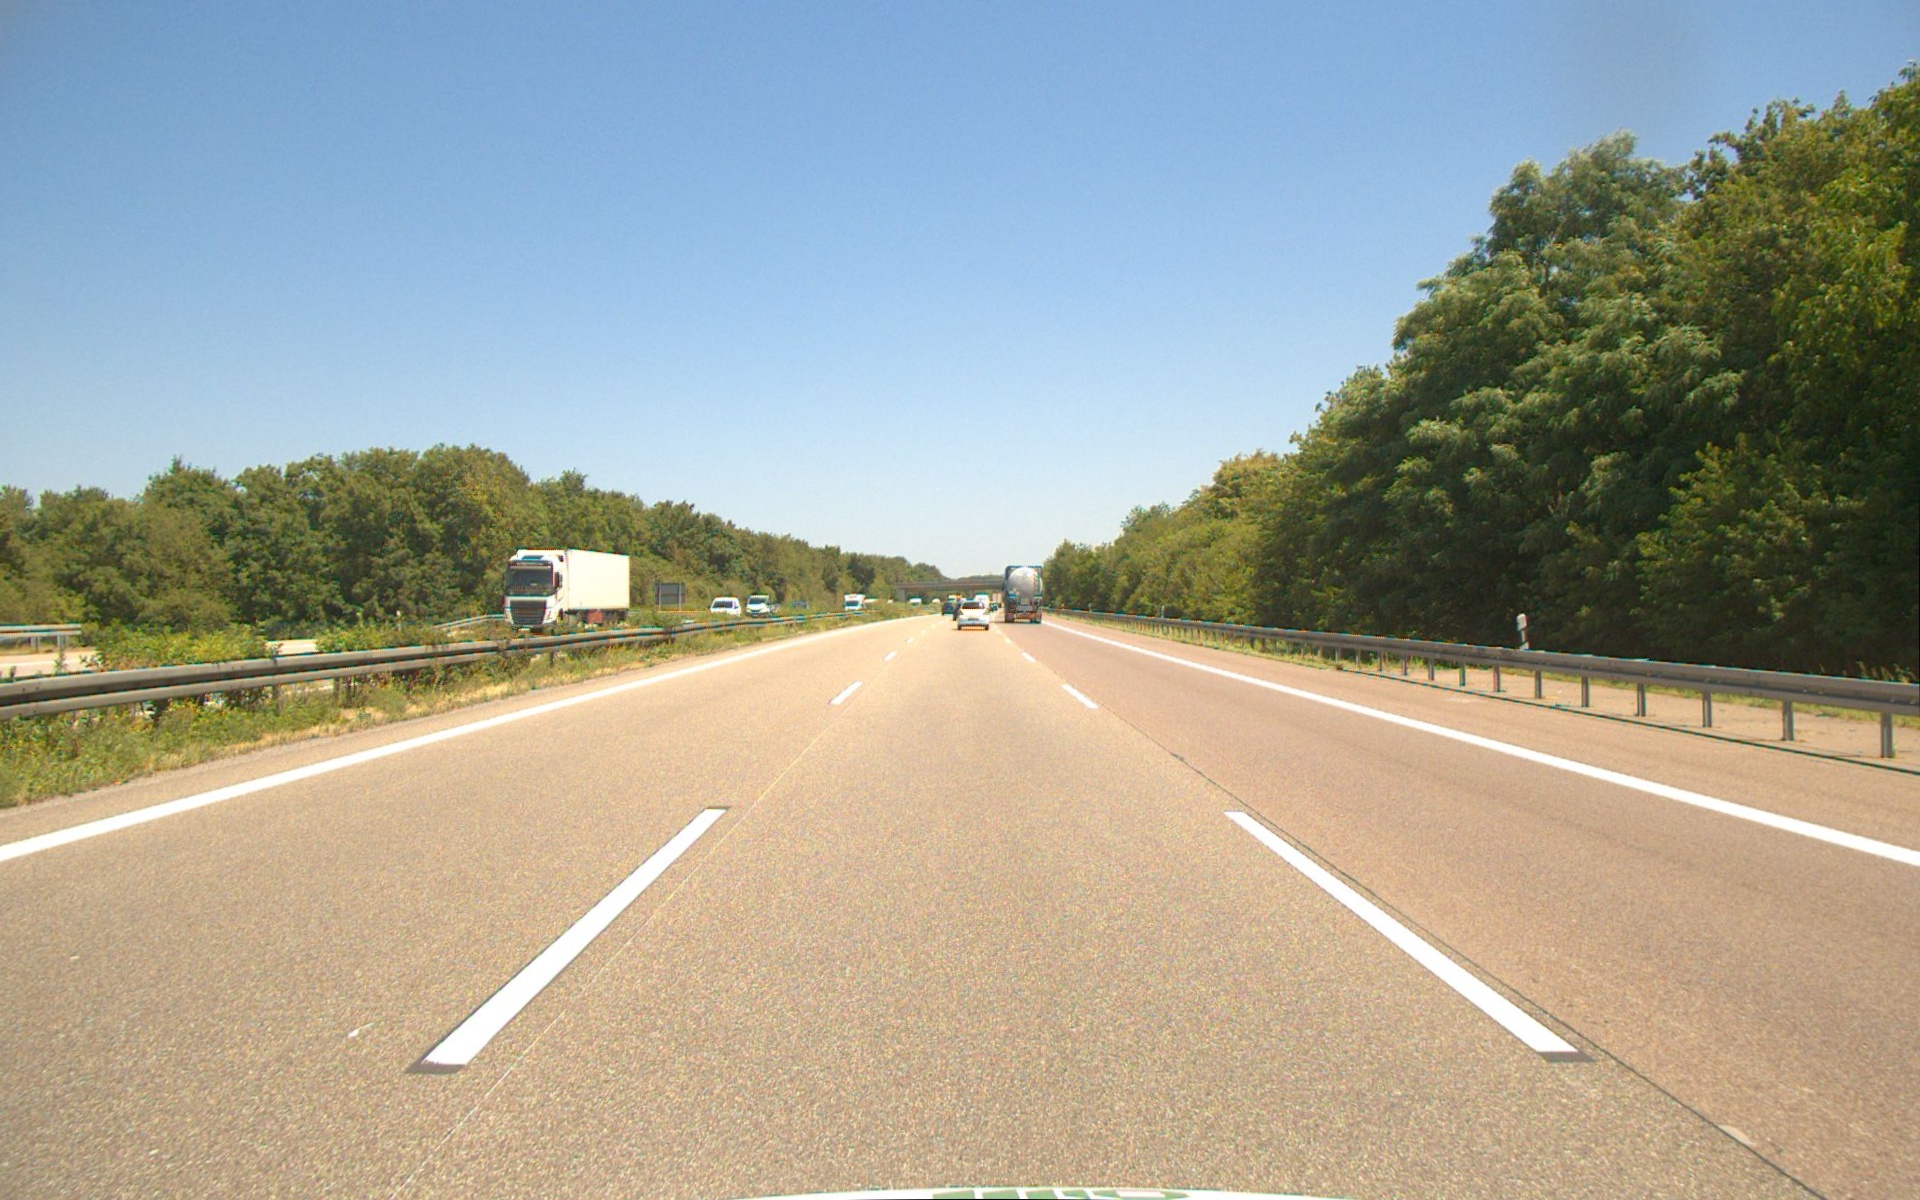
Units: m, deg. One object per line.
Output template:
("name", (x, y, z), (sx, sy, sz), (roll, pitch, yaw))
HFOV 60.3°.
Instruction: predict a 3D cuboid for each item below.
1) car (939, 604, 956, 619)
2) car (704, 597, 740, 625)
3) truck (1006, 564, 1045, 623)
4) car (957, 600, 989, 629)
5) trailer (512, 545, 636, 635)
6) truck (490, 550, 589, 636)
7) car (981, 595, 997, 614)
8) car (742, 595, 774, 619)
("car", (-1.458, 1.352, 198.581), (1.952, 1.756, 4.787), (0, 0, 1))
("car", (-16.270, 0.747, 113.295), (1.778, 1.909, 4.877), (0, 0, -1))
("truck", (4.756, -0.454, 120.972), (2.682, 4.123, 10.455), (0, 0, 1))
("car", (0.660, 0.756, 87.135), (1.594, 1.505, 3.999), (0, 0, -1))
("trailer", (-20.276, -0.491, 87.958), (3.243, 4.438, 13.588), (0, 0, 1))
("truck", (-20.384, -0.302, 80.559), (3.193, 4.020, 6.101), (0, 0, 1))
("car", (3.782, 0.558, 216.966), (1.952, 2.384, 4.388), (0, 0, 2))
("car", (-19.256, 0.668, 157.828), (2.198, 2.210, 6.541), (0, 0, 1))
